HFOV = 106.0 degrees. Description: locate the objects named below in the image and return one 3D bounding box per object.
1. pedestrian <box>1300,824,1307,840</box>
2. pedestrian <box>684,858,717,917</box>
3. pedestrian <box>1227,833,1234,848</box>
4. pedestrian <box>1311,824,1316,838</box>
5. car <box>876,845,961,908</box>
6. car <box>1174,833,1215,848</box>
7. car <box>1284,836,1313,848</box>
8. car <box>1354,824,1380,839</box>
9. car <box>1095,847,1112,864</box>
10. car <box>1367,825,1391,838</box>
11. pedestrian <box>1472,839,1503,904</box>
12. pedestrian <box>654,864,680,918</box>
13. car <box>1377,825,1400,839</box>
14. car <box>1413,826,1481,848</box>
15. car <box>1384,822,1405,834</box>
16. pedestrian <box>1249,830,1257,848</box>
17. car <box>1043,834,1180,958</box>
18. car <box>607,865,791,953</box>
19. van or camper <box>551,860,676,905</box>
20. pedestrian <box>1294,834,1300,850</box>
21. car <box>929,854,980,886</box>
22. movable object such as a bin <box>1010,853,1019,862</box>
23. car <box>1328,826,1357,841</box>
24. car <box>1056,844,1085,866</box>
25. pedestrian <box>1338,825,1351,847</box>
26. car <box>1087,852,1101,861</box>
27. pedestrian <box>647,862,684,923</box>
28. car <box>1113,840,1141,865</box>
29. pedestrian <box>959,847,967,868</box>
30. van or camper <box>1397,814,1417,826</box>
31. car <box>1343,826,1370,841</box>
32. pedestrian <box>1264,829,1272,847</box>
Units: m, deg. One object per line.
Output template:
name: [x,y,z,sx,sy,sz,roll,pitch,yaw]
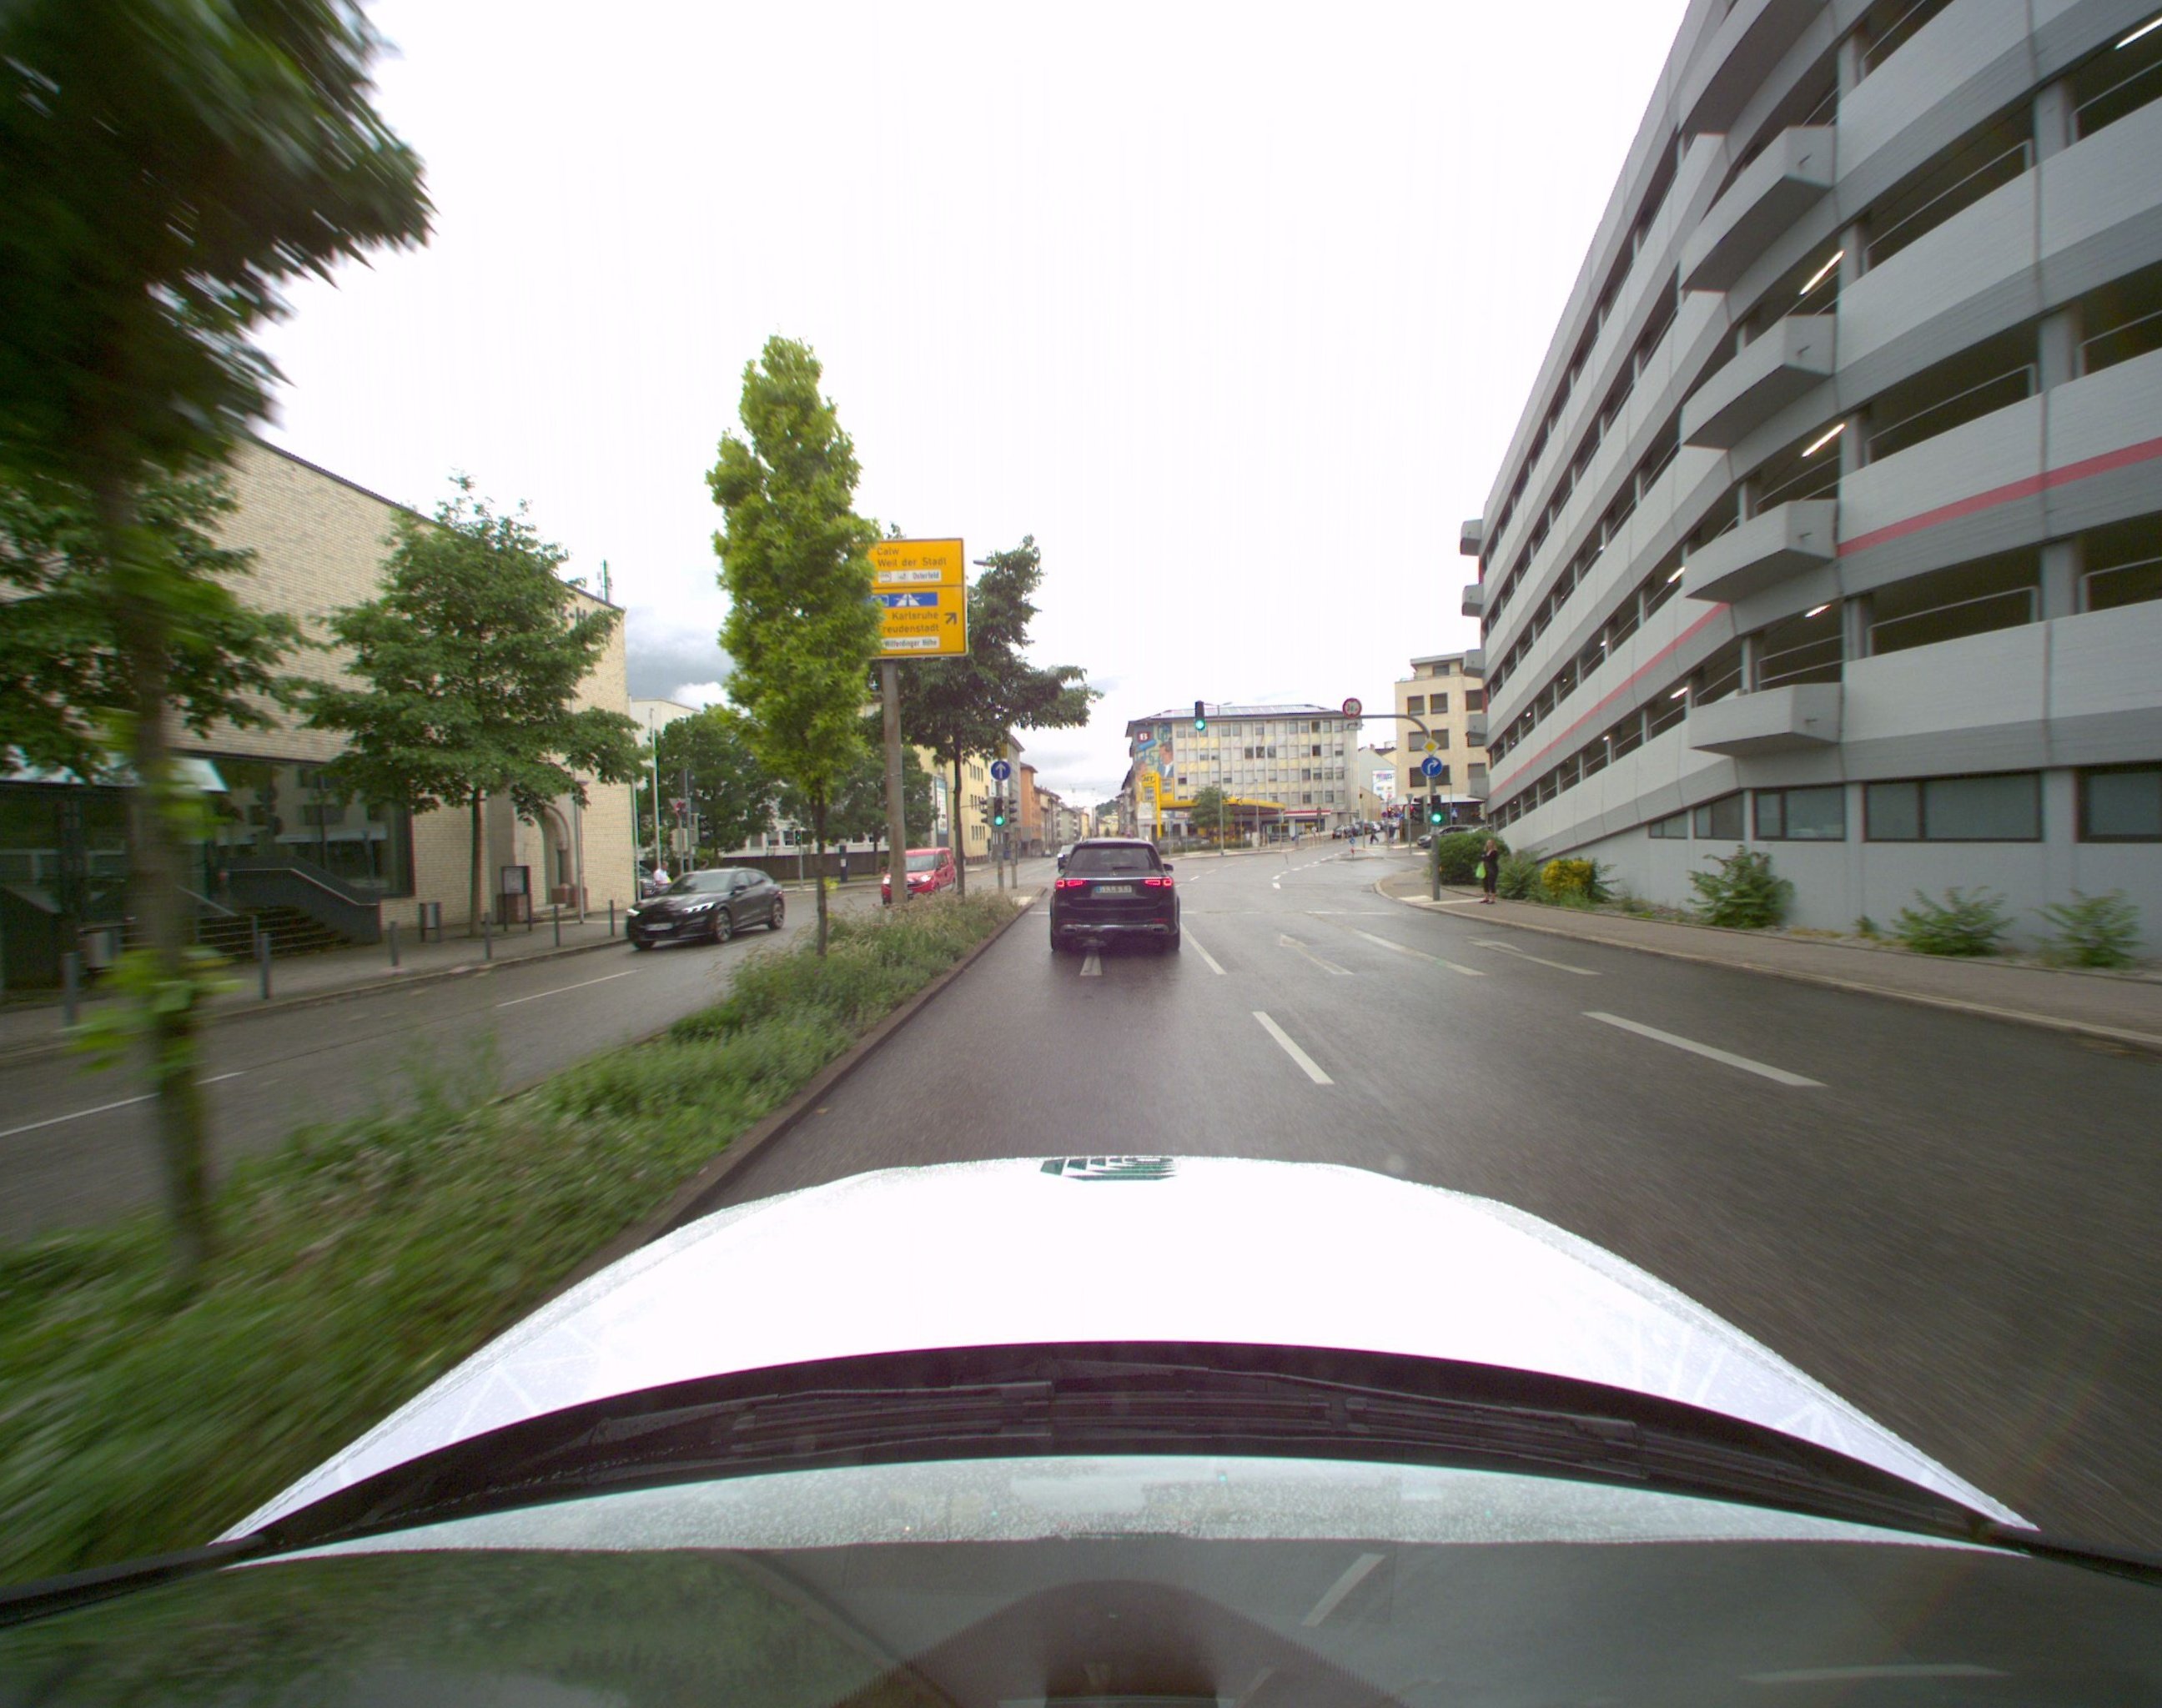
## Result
pedestrian: [25.445,-2.504,93.080,0.521,1.727,0.693,-2,0,29]
pedestrian: [-11.646,1.014,24.917,0.687,1.757,0.716,-2,0,-9]
pedestrian: [16.916,-1.532,92.282,0.521,1.727,0.693,-2,0,32]
pedestrian: [26.456,-2.628,92.746,0.478,1.641,0.441,-1,-2,30]
car: [-5.369,0.707,27.533,1.787,1.854,4.791,-4,0,0]
car: [11.861,-1.385,85.301,1.746,1.376,3.952,-2,0,-42]
car: [27.861,-1.473,104.159,1.974,1.398,4.024,-1,-1,41]
car: [36.303,-2.875,103.226,1.974,1.706,4.026,-2,0,36]
car: [2.710,0.246,98.641,1.986,2.014,4.000,0,-1,1]
car: [39.593,-3.009,108.148,1.974,1.706,4.026,-2,0,36]
pedestrian: [10.908,0.468,21.862,0.639,1.710,0.474,-1,-2,38]
pedestrian: [-12.269,1.085,24.136,0.437,1.534,0.546,-2,0,0]
car: [42.515,-3.045,112.646,1.974,1.706,4.026,-2,0,36]
car: [26.981,-1.220,60.162,4.159,1.439,1.863,-2,0,8]
car: [47.333,-3.934,123.002,1.974,1.706,4.026,-2,0,36]
pedestrian: [16.520,-1.409,78.295,0.521,1.727,0.693,-2,0,29]
car: [0.525,0.645,13.845,1.986,1.800,4.002,0,-1,2]
car: [-8.390,1.117,18.442,1.882,1.587,4.537,-4,0,1]
van or camper: [-22.326,1.342,39.010,4.720,1.931,2.024,-2,0,1]
pedestrian: [18.535,-1.032,69.987,0.394,1.400,0.447,0,-1,3]
car: [-6.659,0.823,43.399,1.840,1.429,4.436,-4,1,1]
movable object such as a bin: [-8.029,0.408,98.436,0.906,1.038,0.844,0,-1,3]
car: [30.505,-2.413,94.908,1.974,1.706,4.026,-2,0,36]
car: [-0.791,0.128,62.874,1.985,1.614,4.192,0,-1,3]
pedestrian: [25.940,-1.774,80.308,0.853,2.128,0.947,-2,0,-4]
car: [2.236,0.443,136.736,1.984,1.547,4.194,0,-1,4]
pedestrian: [-11.594,1.062,22.758,0.609,1.656,0.691,-2,0,0]
car: [3.399,-0.088,60.965,1.986,1.800,4.002,0,-1,2]
pedestrian: [-9.930,0.289,68.421,0.627,1.727,0.648,-2,0,-8]
van or camper: [55.090,-5.703,137.523,1.974,1.979,4.543,-2,0,36]
car: [33.569,-2.528,99.088,1.974,1.706,4.026,-2,0,36]
pedestrian: [17.645,-1.503,76.844,0.569,1.697,0.631,0,-1,3]
